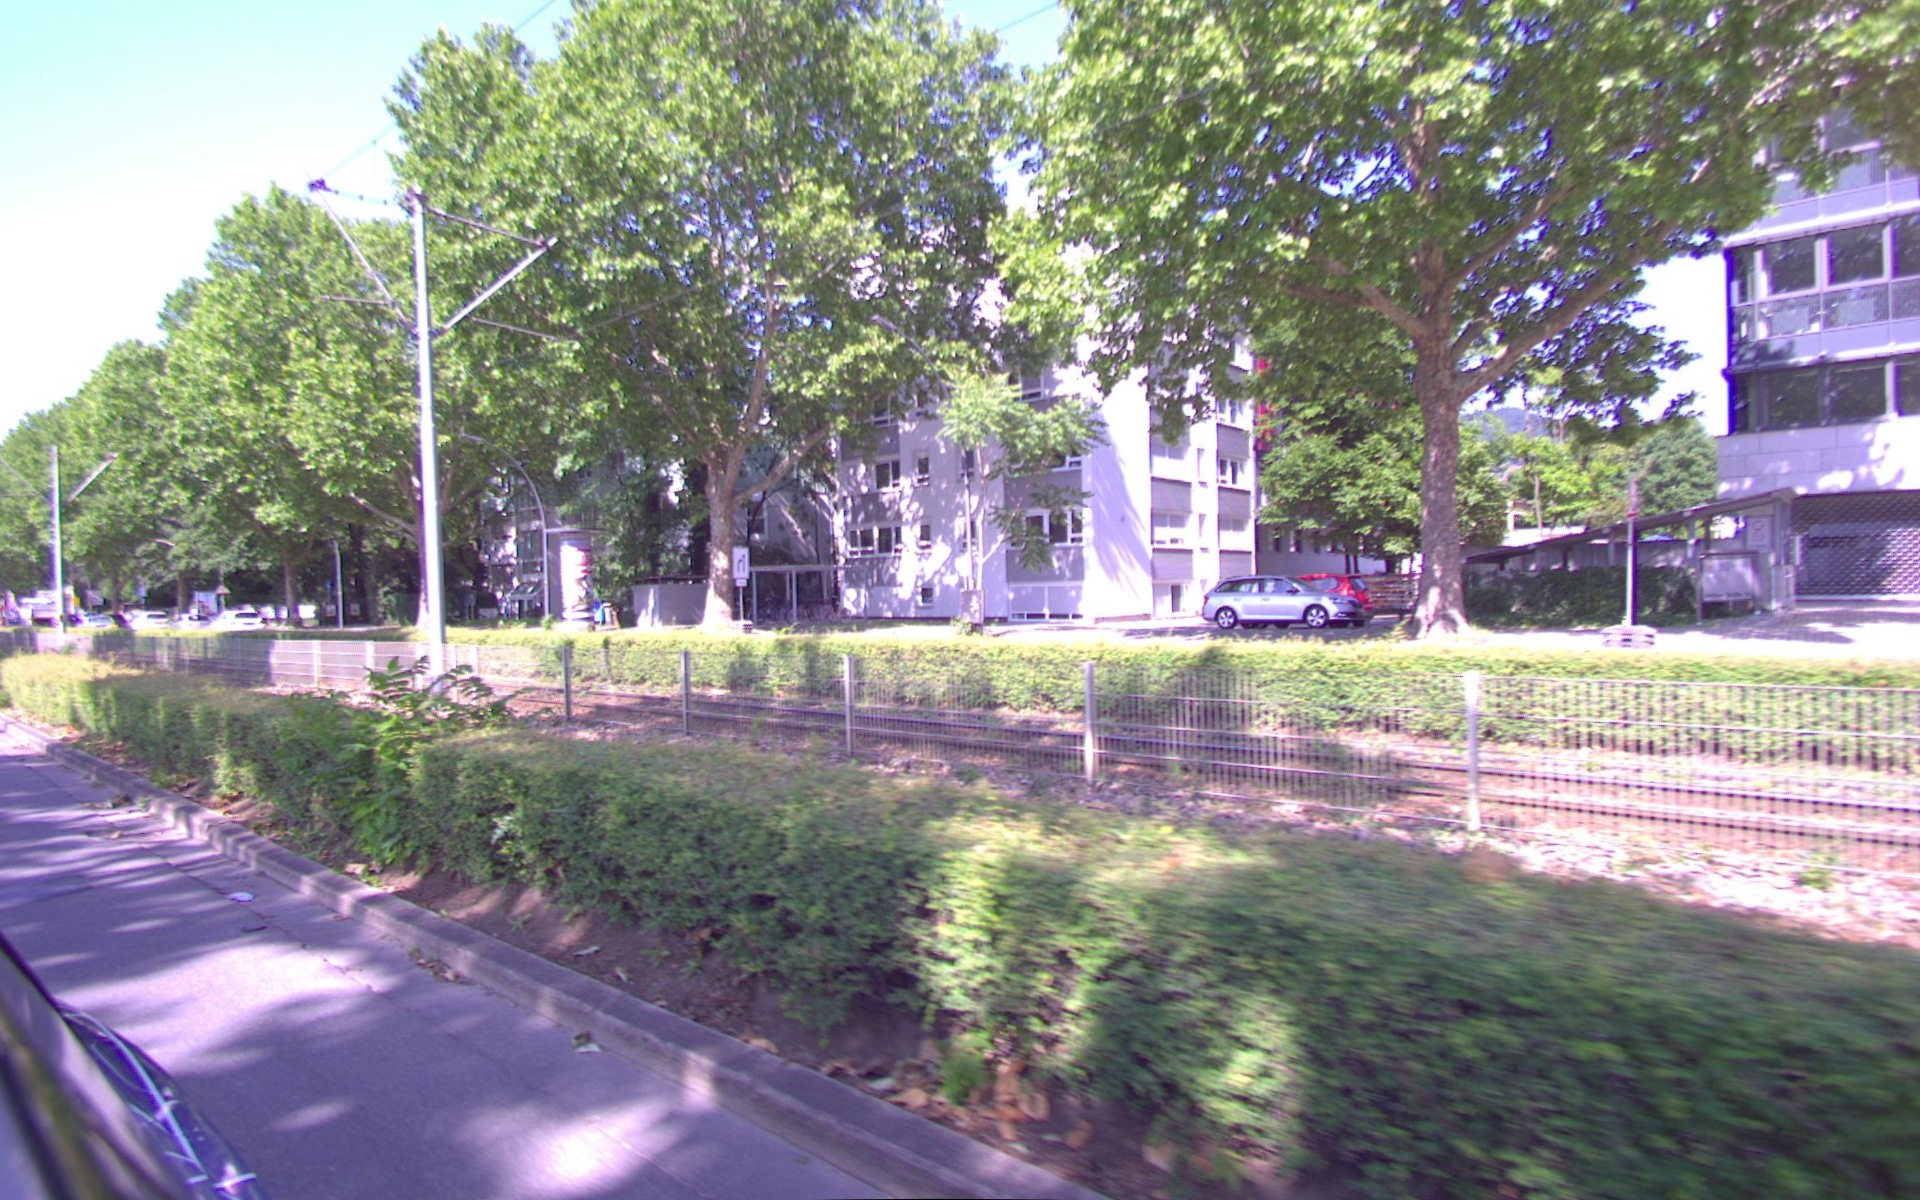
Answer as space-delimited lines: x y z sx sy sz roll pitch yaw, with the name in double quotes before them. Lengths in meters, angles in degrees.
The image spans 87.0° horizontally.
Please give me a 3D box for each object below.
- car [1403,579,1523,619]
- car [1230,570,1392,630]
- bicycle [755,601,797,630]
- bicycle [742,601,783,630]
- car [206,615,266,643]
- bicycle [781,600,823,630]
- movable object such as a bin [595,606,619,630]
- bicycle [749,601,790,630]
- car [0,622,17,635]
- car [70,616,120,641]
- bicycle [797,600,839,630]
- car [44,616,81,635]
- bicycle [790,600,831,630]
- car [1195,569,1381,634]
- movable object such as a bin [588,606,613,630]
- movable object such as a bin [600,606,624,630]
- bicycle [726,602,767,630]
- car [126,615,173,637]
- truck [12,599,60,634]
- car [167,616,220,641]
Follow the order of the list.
"car" 18.847 -0.032 37.993 3.751 1.364 1.627 -2 0 41
"car" 10.013 0.017 29.024 3.997 1.561 1.724 -2 0 41
"bicycle" -7.420 0.622 40.884 0.421 1.111 1.748 -2 0 40
"bicycle" -8.075 0.638 41.503 0.421 1.111 1.748 -2 0 40
"car" -39.814 1.580 55.627 3.910 1.502 1.796 -2 -2 41
"bicycle" -6.235 0.592 40.049 0.421 1.111 1.748 -2 0 40
"movable object such as a bin" -16.268 0.823 46.631 0.545 1.044 0.887 -2 0 40
"bicycle" -7.748 0.630 41.176 0.421 1.111 1.748 -2 0 40
"car" -110.338 3.288 116.813 3.863 1.464 1.730 -2 0 41
"car" -56.107 1.838 65.635 3.997 1.464 1.837 -2 1 41
"bicycle" -5.506 0.574 39.425 0.421 1.111 1.748 -2 0 40
"car" -74.966 2.101 84.509 3.890 1.424 1.680 -2 3 41
"bicycle" -5.854 0.583 39.730 0.421 1.111 1.748 -2 0 40
"car" 8.650 0.063 26.898 4.346 1.561 1.724 -2 0 41
"movable object such as a bin" -16.688 0.833 47.008 0.545 1.044 0.887 -2 0 40
"movable object such as a bin" -15.893 0.814 46.215 0.545 1.044 0.887 -2 0 40
"bicycle" -8.894 0.658 42.216 0.421 1.111 1.748 -2 0 40
"car" -57.057 1.818 71.208 3.997 1.464 1.837 -2 1 41
"truck" -92.284 1.656 101.061 6.537 3.303 2.717 -2 0 41
"car" -48.821 1.822 64.455 3.997 1.464 1.833 -2 1 41
